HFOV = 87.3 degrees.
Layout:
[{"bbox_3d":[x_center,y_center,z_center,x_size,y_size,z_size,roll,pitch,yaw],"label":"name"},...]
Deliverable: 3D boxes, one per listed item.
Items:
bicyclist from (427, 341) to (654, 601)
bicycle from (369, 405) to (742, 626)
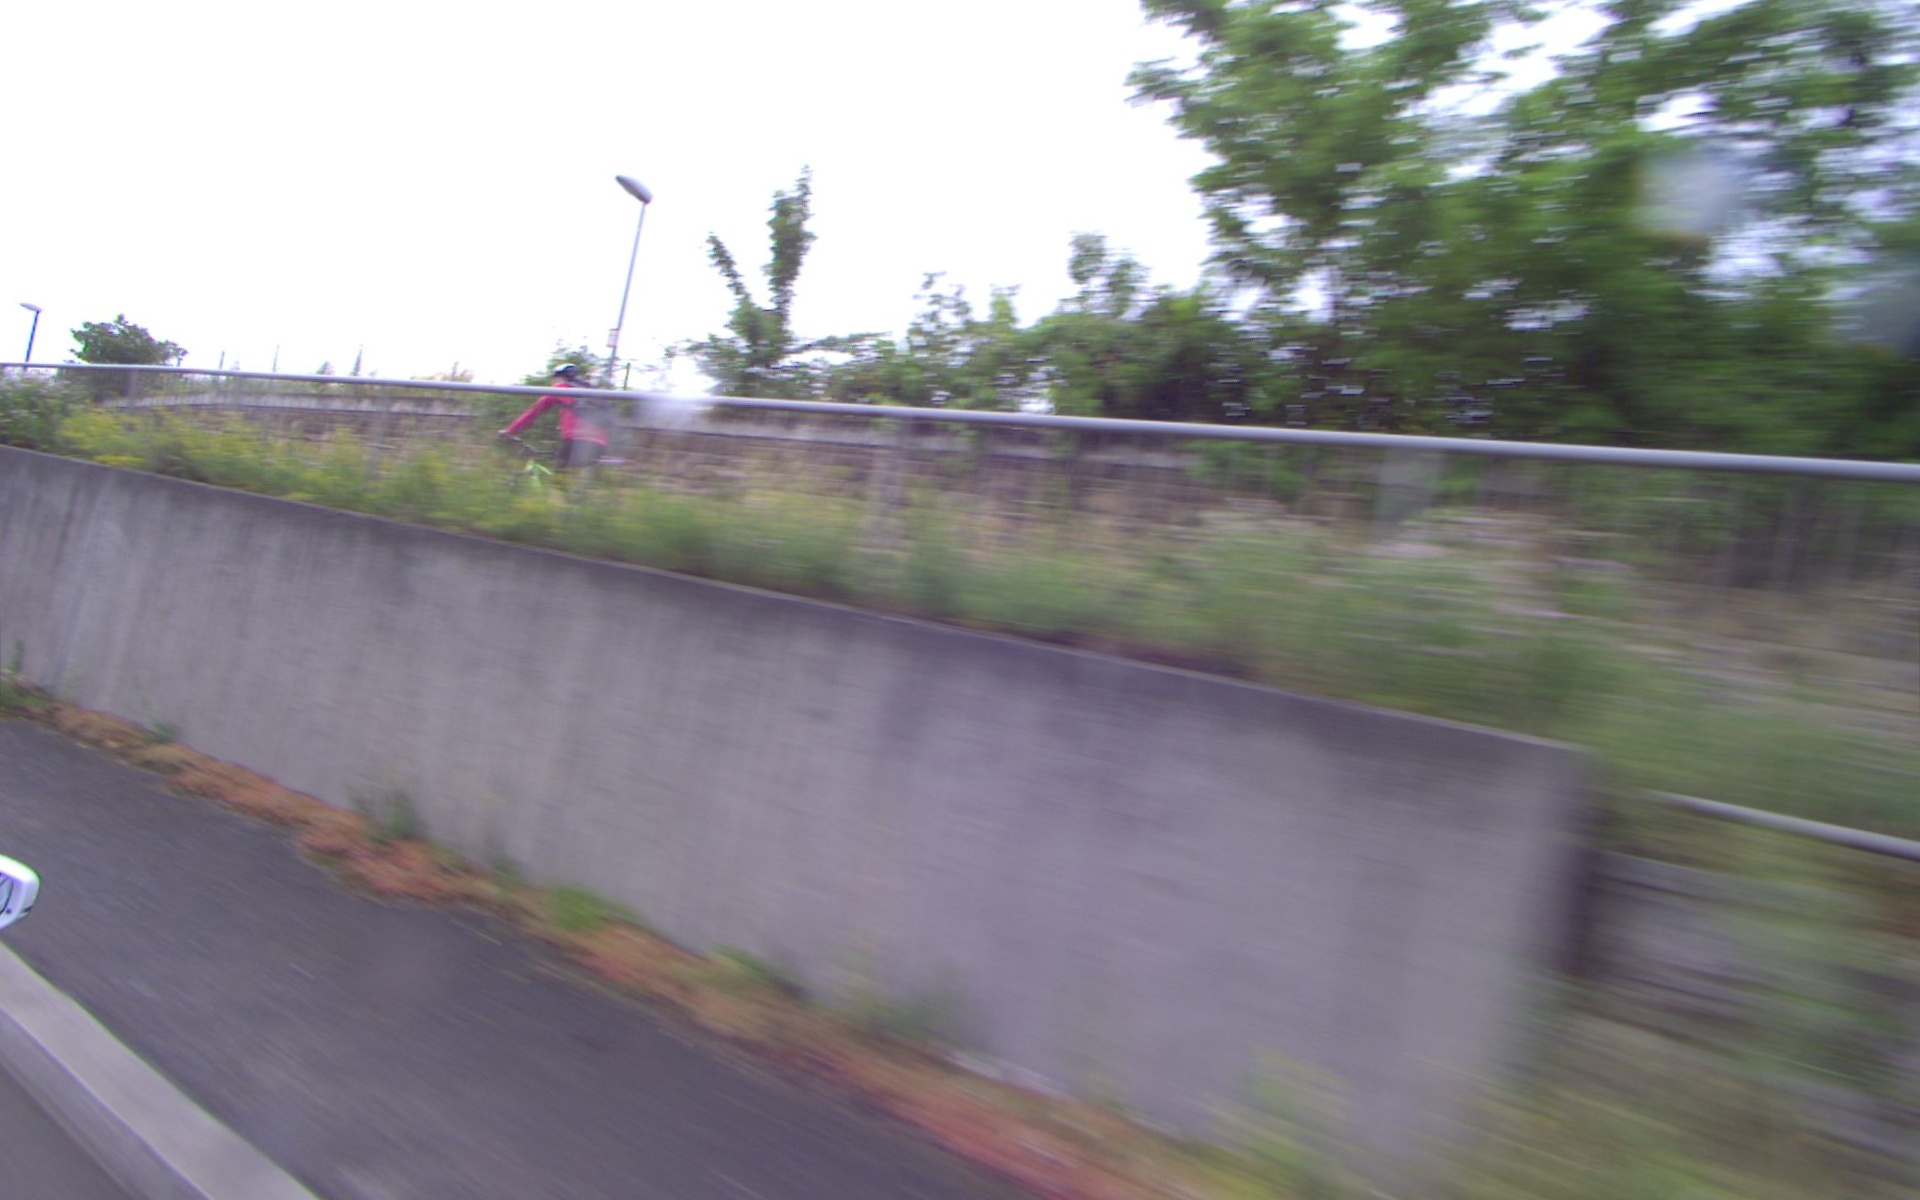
[{"bbox_3d":[-3.576,-1.103,8.605,1.272,1.928,0.872,10,-3,31],"label":"bicyclist"},{"bbox_3d":[-3.521,-0.773,8.515,3.428,1.301,0.872,11,-3,32],"label":"bicycle"}]
